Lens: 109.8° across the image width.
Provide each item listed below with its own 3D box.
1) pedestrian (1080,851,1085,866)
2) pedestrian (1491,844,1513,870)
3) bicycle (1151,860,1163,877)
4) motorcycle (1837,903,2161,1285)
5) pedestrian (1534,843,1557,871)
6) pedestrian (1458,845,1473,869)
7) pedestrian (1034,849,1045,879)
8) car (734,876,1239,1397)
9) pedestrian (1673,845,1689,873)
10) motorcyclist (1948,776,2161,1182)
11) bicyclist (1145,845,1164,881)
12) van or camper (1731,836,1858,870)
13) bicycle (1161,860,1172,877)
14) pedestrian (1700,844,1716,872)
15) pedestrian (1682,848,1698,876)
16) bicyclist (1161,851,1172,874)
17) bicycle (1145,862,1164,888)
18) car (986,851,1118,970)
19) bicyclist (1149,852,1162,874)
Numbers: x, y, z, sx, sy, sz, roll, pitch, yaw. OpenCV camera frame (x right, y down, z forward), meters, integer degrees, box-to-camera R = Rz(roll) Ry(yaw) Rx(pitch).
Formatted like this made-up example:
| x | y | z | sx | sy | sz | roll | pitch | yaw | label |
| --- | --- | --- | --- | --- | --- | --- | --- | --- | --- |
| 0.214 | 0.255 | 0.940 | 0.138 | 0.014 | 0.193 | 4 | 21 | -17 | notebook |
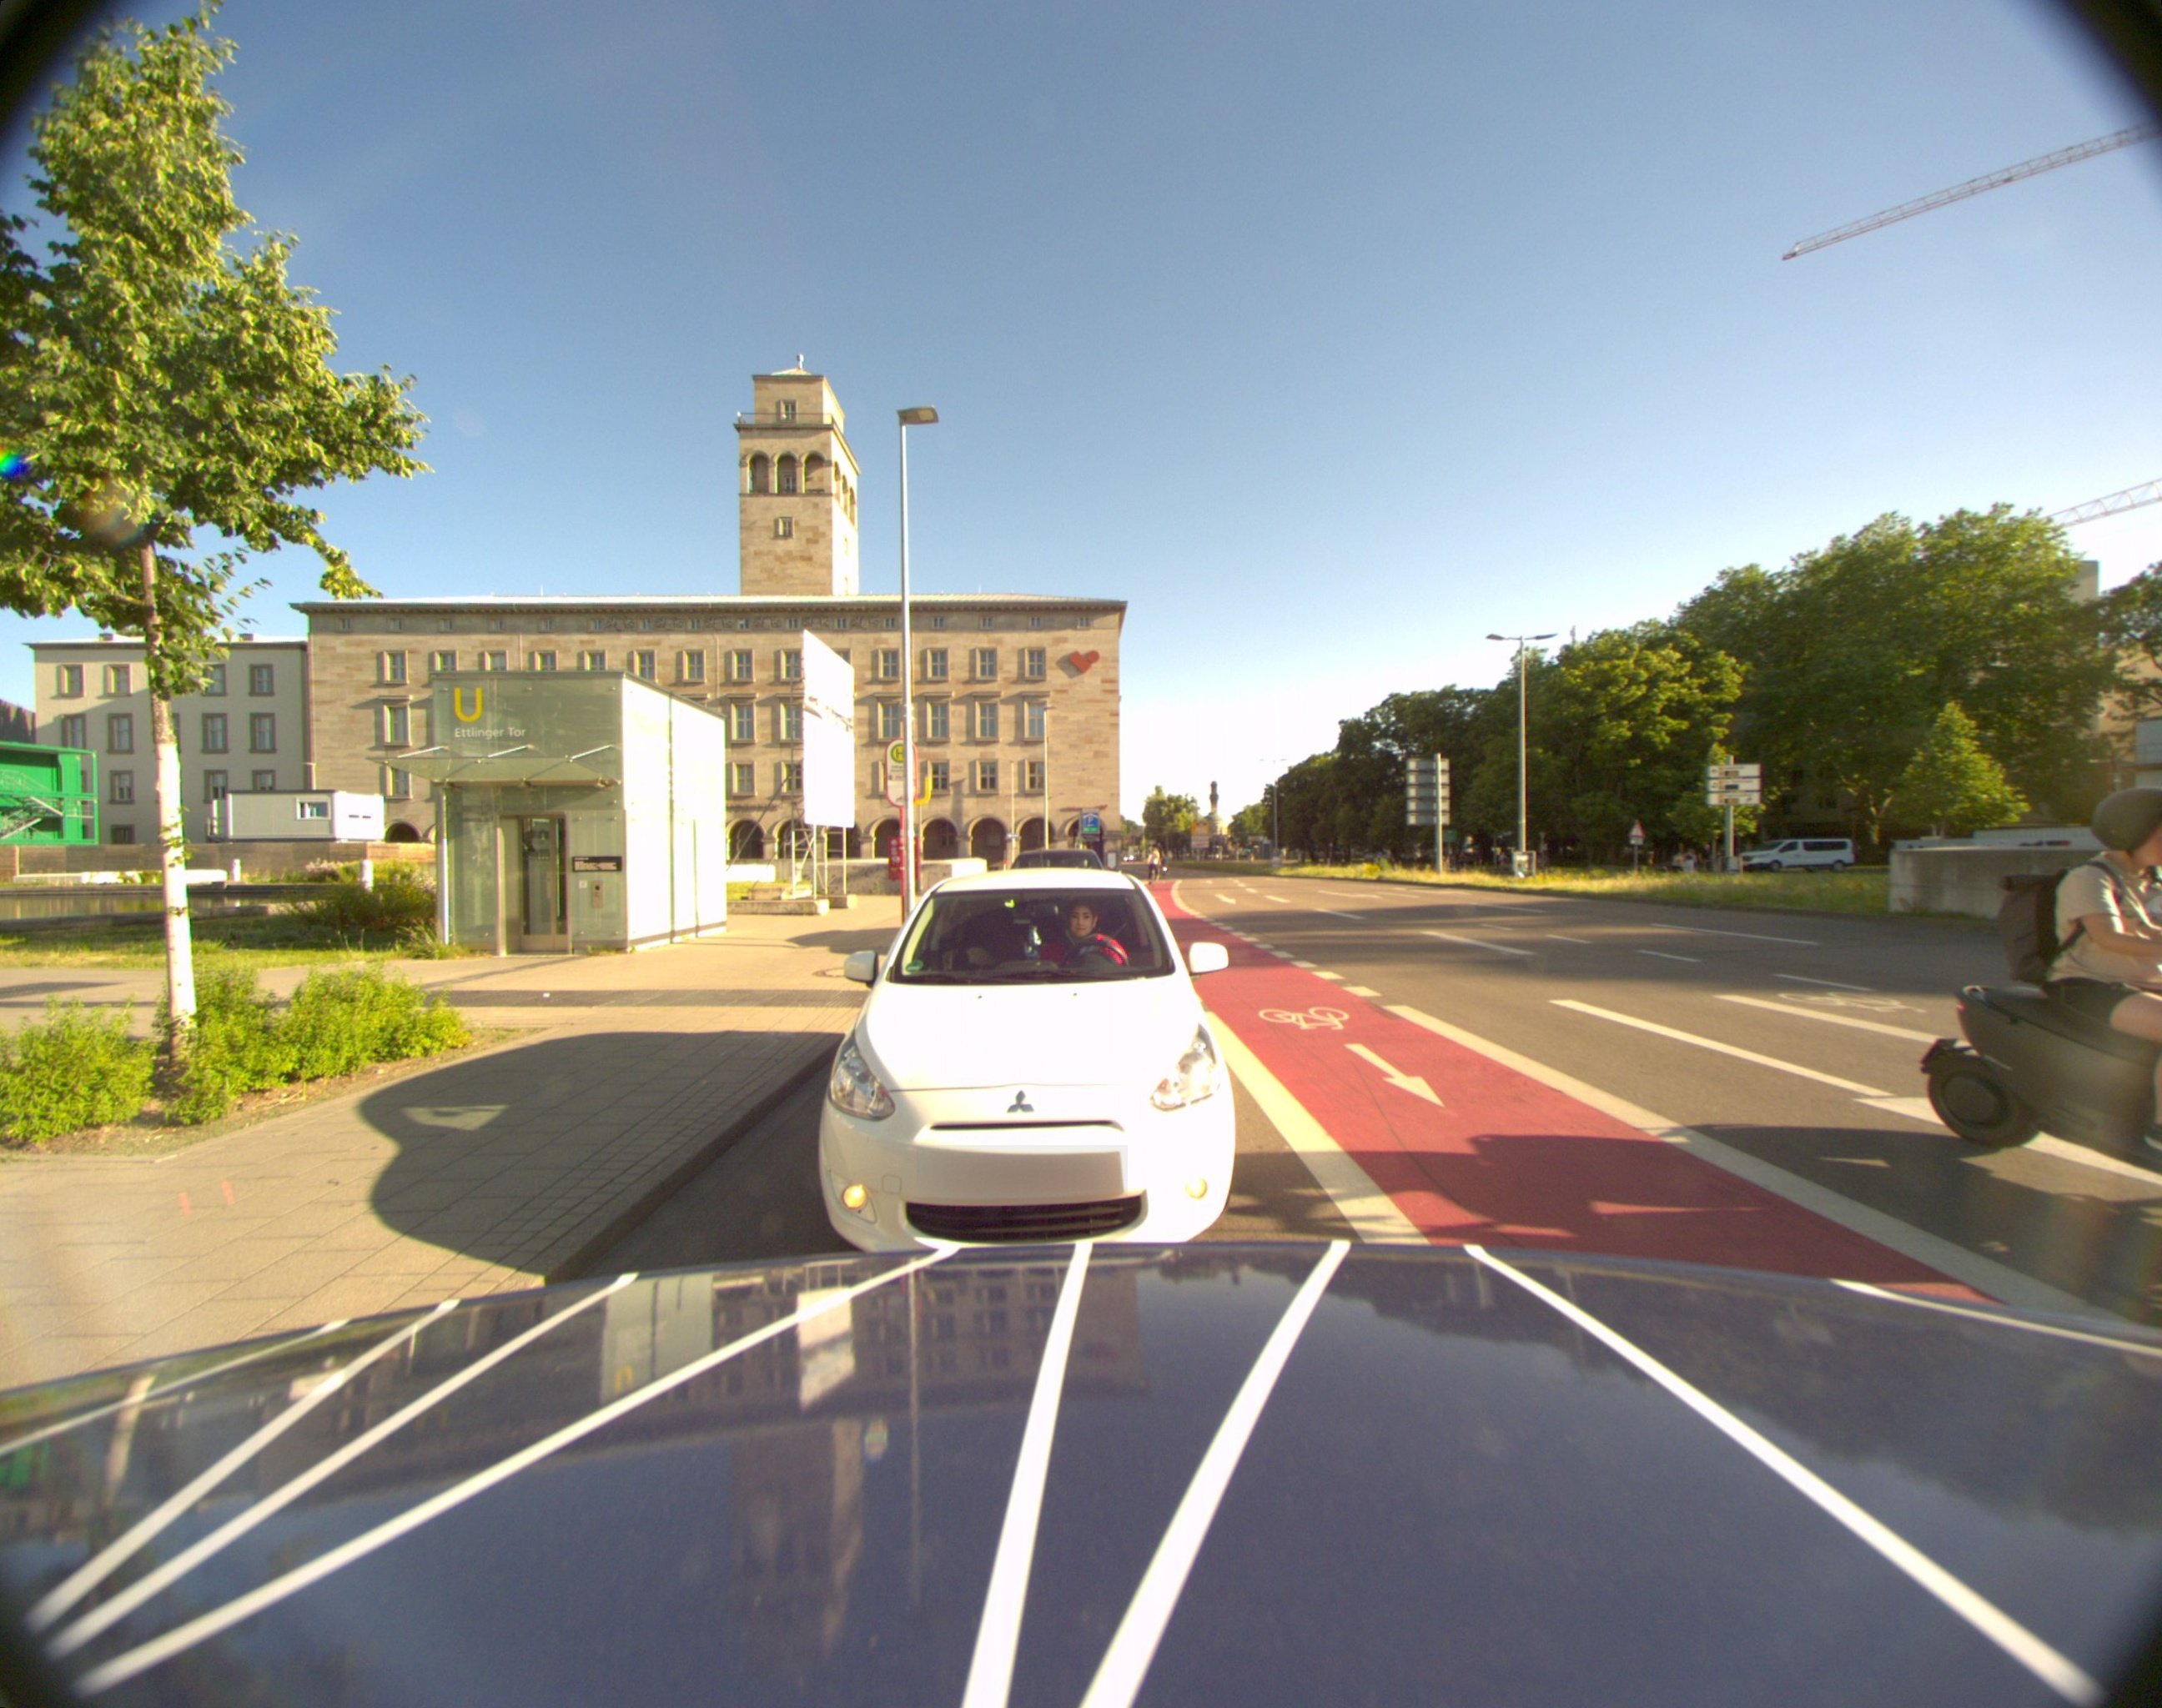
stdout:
| x | y | z | sx | sy | sz | roll | pitch | yaw | label |
| --- | --- | --- | --- | --- | --- | --- | --- | --- | --- |
| 0.252 | 0.641 | 102.701 | 0.612 | 2.002 | 0.727 | -2 | 1 | 0 | pedestrian |
| 32.554 | 0.211 | 58.752 | 0.951 | 1.952 | 1.058 | -2 | 1 | -14 | pedestrian |
| 5.463 | 1.067 | 54.855 | 0.689 | 1.185 | 1.506 | -1 | 1 | 1 | bicycle |
| 4.267 | 0.898 | 2.906 | 0.828 | 1.273 | 1.944 | -1 | 0 | 1 | motorcycle |
| 33.220 | 0.220 | 54.346 | 1.126 | 1.952 | 0.815 | -2 | 1 | 1 | pedestrian |
| 32.497 | 0.262 | 64.159 | 0.838 | 2.002 | 0.959 | -1 | 2 | 43 | pedestrian |
| -2.312 | 0.545 | 42.420 | 0.552 | 1.692 | 0.553 | -1 | 1 | -1 | pedestrian |
| -0.260 | 0.926 | 4.314 | 1.519 | 1.447 | 4.000 | -1 | 0 | 1 | car |
| 32.403 | 0.253 | 41.034 | 0.499 | 1.502 | 0.494 | -1 | 1 | 1 | pedestrian |
| 4.284 | 0.443 | 2.953 | 0.824 | 1.455 | 0.877 | -1 | 1 | 1 | motorcyclist |
| 3.457 | 0.410 | 35.734 | 0.807 | 1.690 | 0.852 | -1 | 1 | 1 | bicyclist |
| 42.232 | -0.051 | 45.069 | 5.499 | 1.934 | 1.951 | -1 | 0 | 4 | van or camper |
| 6.162 | 1.022 | 54.837 | 0.689 | 1.185 | 1.506 | -1 | 1 | 1 | bicycle |
| 34.013 | 0.210 | 41.218 | 0.499 | 1.502 | 0.494 | -1 | 1 | 1 | pedestrian |
| 33.067 | 0.433 | 41.265 | 0.499 | 1.502 | 0.494 | -1 | 1 | 1 | pedestrian |
| 6.159 | 0.600 | 54.804 | 0.674 | 1.649 | 0.877 | -1 | 1 | 1 | bicyclist |
| 3.447 | 0.986 | 35.774 | 0.741 | 1.140 | 1.890 | -1 | 0 | 1 | bicycle |
| -0.383 | 0.795 | 12.737 | 1.833 | 1.660 | 4.000 | -1 | 0 | 1 | car |
| 5.375 | 0.644 | 54.757 | 0.824 | 1.568 | 0.877 | -1 | 1 | 1 | bicyclist |
